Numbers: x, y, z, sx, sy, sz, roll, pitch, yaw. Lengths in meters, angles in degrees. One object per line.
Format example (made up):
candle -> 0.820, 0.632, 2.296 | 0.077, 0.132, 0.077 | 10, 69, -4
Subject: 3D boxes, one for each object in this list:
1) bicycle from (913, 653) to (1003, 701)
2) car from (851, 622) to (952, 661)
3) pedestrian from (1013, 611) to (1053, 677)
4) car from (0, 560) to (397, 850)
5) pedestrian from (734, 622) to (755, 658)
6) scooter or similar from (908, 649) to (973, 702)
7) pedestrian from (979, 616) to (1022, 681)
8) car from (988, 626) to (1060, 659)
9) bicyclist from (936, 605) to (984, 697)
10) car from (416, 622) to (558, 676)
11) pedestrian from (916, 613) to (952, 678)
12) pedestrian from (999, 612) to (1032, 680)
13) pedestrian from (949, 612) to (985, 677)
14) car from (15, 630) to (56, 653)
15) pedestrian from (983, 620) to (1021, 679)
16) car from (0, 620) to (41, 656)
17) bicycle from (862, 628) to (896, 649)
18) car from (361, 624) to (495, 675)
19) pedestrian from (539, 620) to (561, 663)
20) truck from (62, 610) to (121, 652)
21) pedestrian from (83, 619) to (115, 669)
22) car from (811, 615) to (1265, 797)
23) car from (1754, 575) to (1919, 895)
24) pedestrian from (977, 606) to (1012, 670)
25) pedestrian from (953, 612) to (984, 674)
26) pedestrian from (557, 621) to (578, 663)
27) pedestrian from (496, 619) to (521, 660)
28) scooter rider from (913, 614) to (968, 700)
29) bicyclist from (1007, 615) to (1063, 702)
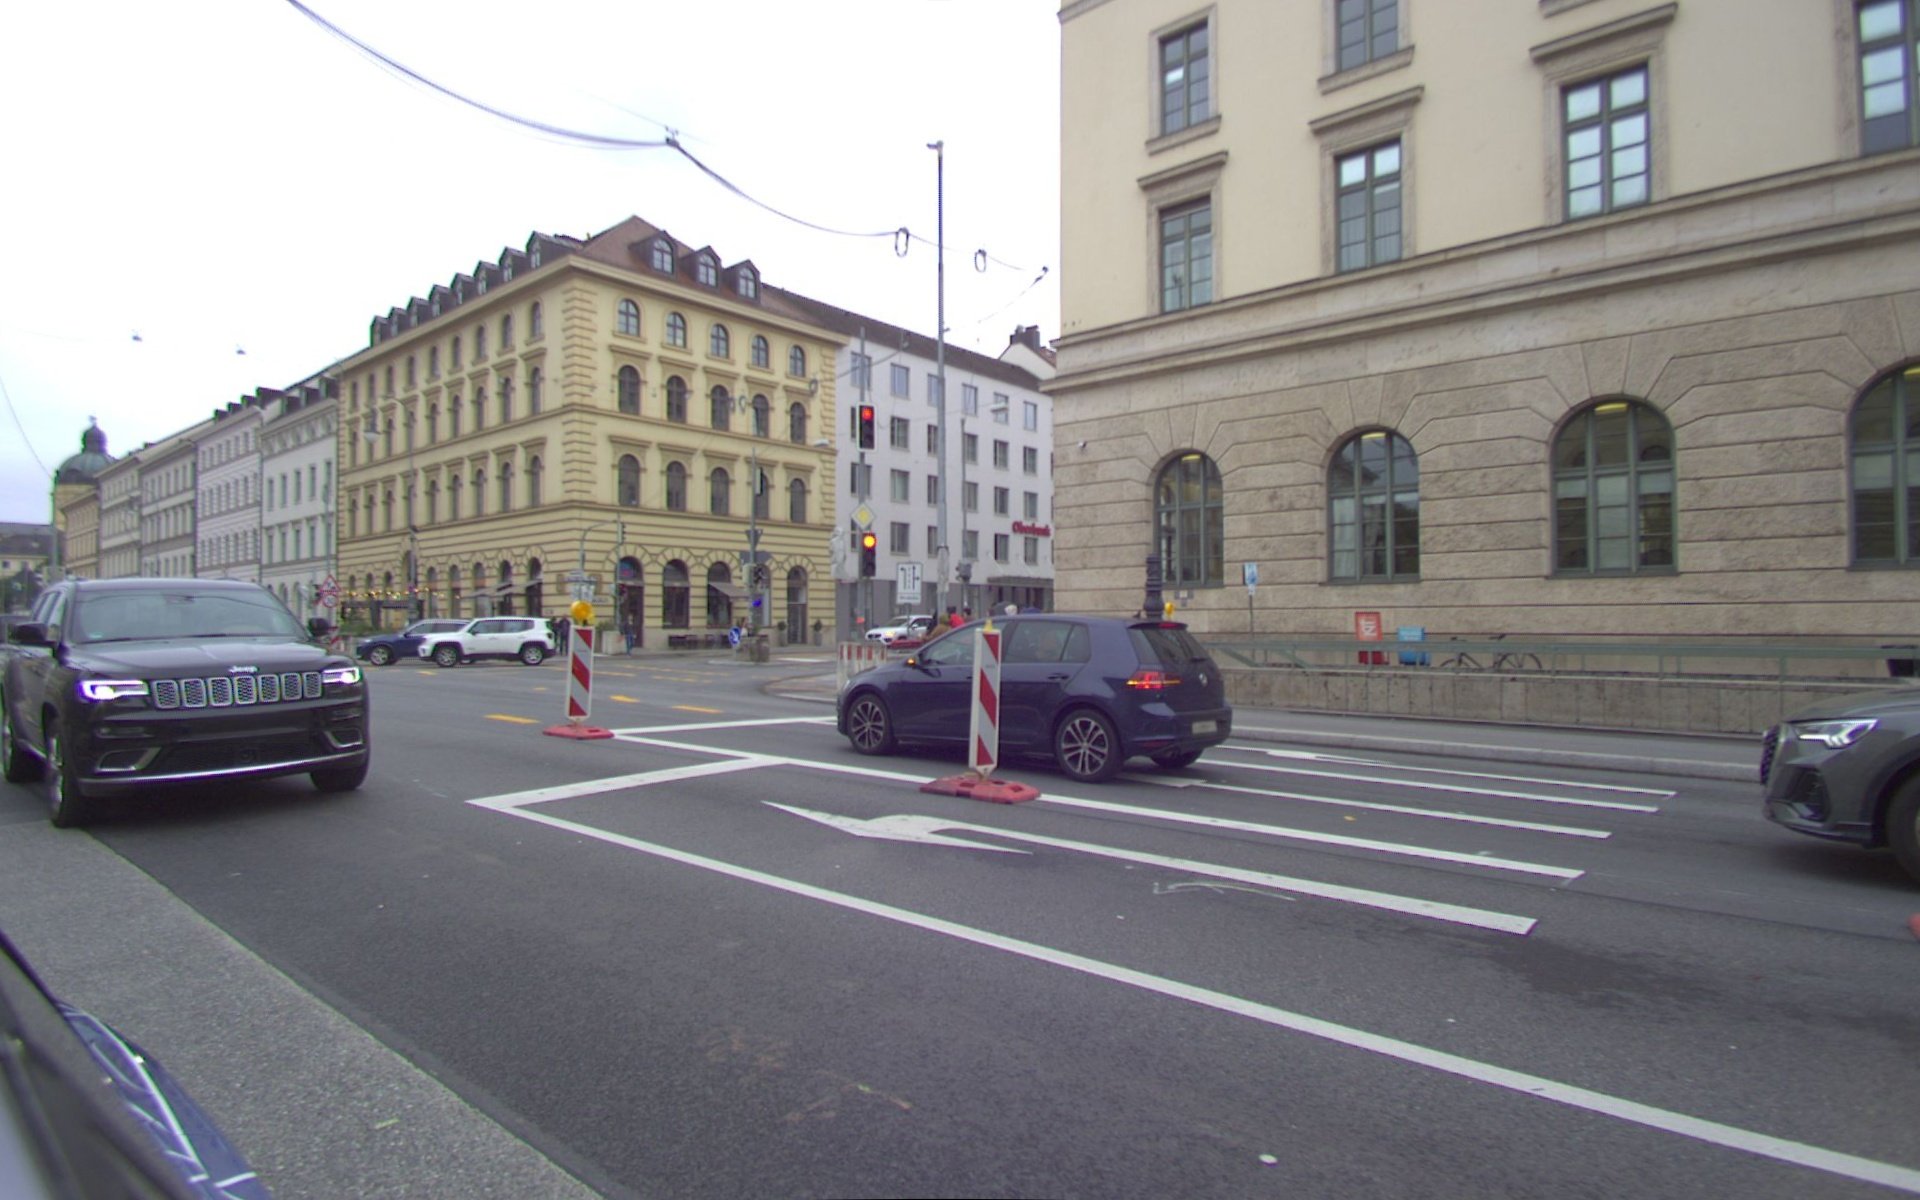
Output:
bicycle -> -0.063, 1.586, 21.118 | 1.978, 0.886, 0.652 | 0, -1, 43
car -> -2.456, 1.736, 43.032 | 1.998, 1.535, 4.177 | -2, -2, 39
pedestrian -> 1.957, 1.159, 26.973 | 0.717, 1.706, 0.808 | 0, -1, 42
car -> -6.578, 0.700, 8.405 | 4.584, 1.748, 1.973 | -2, -2, 42
pedestrian -> -10.788, 1.976, 50.663 | 0.739, 1.785, 0.725 | 0, -1, 45
scooter or similar -> -0.383, 1.470, 19.912 | 1.214, 0.972, 0.579 | 0, -1, 42
pedestrian -> 0.994, 1.190, 25.010 | 0.657, 1.569, 0.821 | 1, -1, -42
car -> 3.609, 2.365, 56.652 | 1.998, 1.748, 4.177 | -2, -2, 39
bicyclist -> -0.005, 1.038, 21.070 | 0.746, 1.856, 0.651 | 0, -1, 43
car -> -15.602, 1.582, 33.477 | 4.159, 1.690, 1.805 | 0, -2, -27
pedestrian -> -0.728, 1.256, 28.336 | 0.668, 1.769, 0.822 | 1, -1, -33
pedestrian -> 1.405, 1.144, 25.477 | 0.533, 1.684, 0.618 | 1, -1, -42
pedestrian -> 0.192, 1.210, 27.987 | 0.806, 1.769, 0.587 | 1, -1, -19
car -> -70.804, 3.163, 77.496 | 3.997, 1.733, 1.799 | -1, -2, 41
pedestrian -> 1.128, 1.321, 27.228 | 0.667, 1.539, 0.808 | 0, -1, 43
car -> -54.793, 2.199, 58.517 | 4.452, 2.029, 2.212 | -2, -2, 45
bicycle -> -4.804, 2.283, 60.269 | 0.600, 1.252, 2.168 | 0, -1, 42
car -> -19.022, 1.739, 36.290 | 4.160, 1.690, 1.745 | 0, -2, -28
pedestrian -> -17.484, 1.754, 43.131 | 0.747, 1.785, 0.738 | 1, -1, -29
truck -> -56.559, 2.014, 65.865 | 4.780, 2.683, 2.192 | -2, -2, 41
pedestrian -> -31.582, 1.609, 37.121 | 0.738, 1.785, 0.727 | 0, -1, 38
car -> 0.611, 0.878, 9.939 | 4.237, 1.399, 1.726 | 0, -3, 40
car -> 6.579, 0.678, 4.627 | 4.572, 1.579, 1.767 | -1, -4, 40
pedestrian -> 0.972, 1.062, 28.384 | 0.806, 1.769, 0.587 | 1, -1, -19
pedestrian -> 0.262, 1.235, 29.420 | 0.811, 1.769, 0.584 | 0, -1, 10
pedestrian -> -16.849, 1.782, 43.479 | 0.726, 1.785, 0.738 | 1, -1, -29
pedestrian -> -19.982, 1.725, 44.780 | 0.733, 1.785, 0.731 | 0, -1, 30
scooter rider -> -0.389, 1.099, 19.948 | 0.935, 1.635, 0.584 | 0, -1, 42
bicyclist -> 1.445, 1.106, 19.557 | 0.746, 1.627, 0.784 | 0, -1, 43
